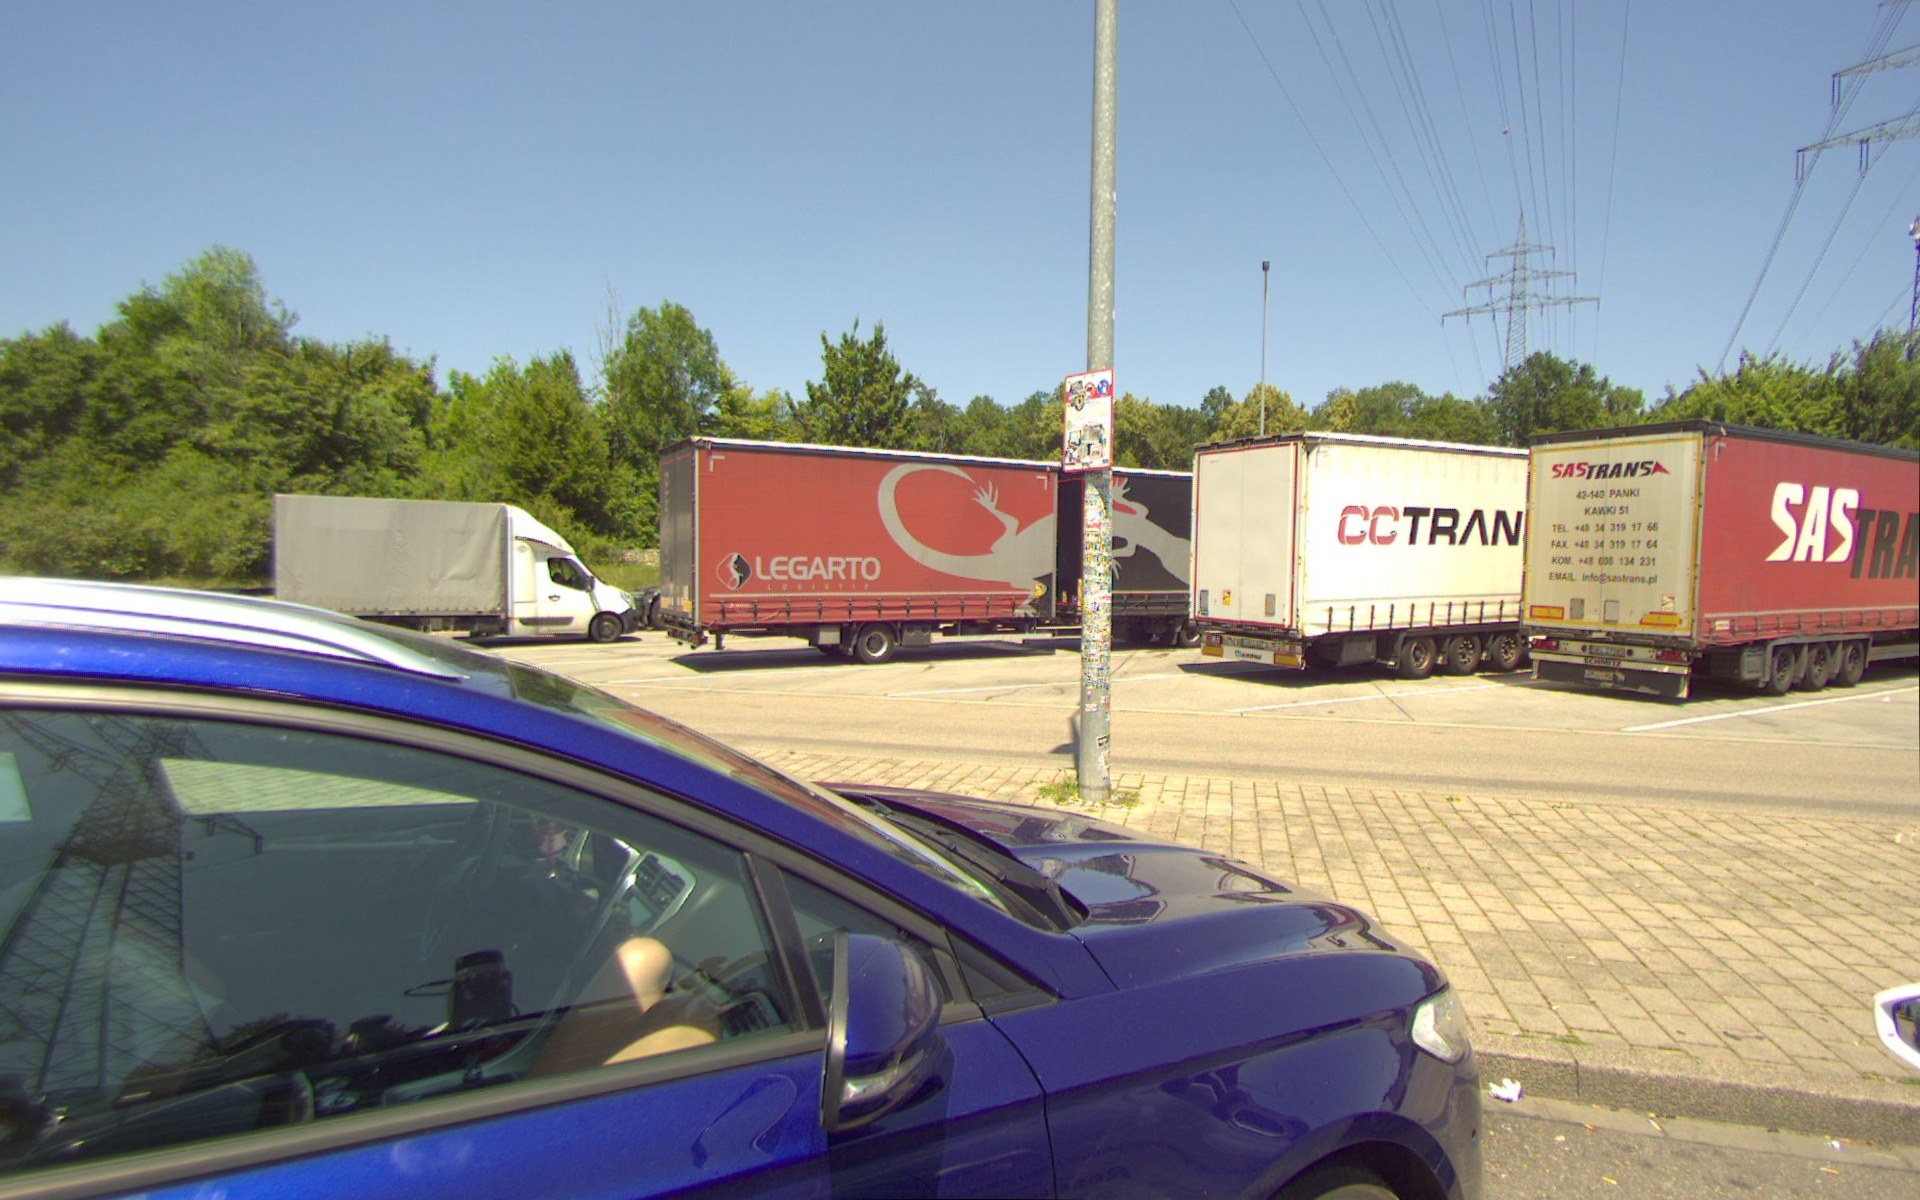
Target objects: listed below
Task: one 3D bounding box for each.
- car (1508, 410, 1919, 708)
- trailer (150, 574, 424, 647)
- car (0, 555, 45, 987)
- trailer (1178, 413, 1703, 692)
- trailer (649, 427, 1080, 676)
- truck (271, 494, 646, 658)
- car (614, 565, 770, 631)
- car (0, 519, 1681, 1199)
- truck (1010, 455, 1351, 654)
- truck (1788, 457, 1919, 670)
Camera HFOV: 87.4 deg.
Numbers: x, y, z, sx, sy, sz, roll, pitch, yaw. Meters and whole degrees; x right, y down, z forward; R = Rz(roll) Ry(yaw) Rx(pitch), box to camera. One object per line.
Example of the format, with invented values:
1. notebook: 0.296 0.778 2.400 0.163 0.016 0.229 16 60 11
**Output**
1. car: 15.217 -0.694 18.456 12.777 4.169 2.683 -1 3 -30
2. trailer: -15.949 0.237 24.183 5.332 1.617 1.585 0 0 -30
3. car: -4.612 0.558 2.119 3.700 1.432 1.595 0 0 -32
4. trailer: 10.111 -0.883 20.070 12.786 4.325 2.800 -1 2 -31
5. trailer: -1.743 -0.932 20.507 8.389 4.248 2.800 -1 2 -30
6. truck: -11.114 -0.589 22.876 7.219 3.277 2.308 -2 3 -29
7. car: -7.604 -0.052 28.519 3.953 1.773 1.902 0 0 -30
8. car: -0.985 0.673 1.468 4.380 1.464 1.771 0 0 -32
9. truck: 5.603 -1.081 24.830 8.683 4.248 2.800 -1 2 -30
10. truck: 21.142 -0.775 21.867 6.163 4.169 2.683 -1 3 -30
